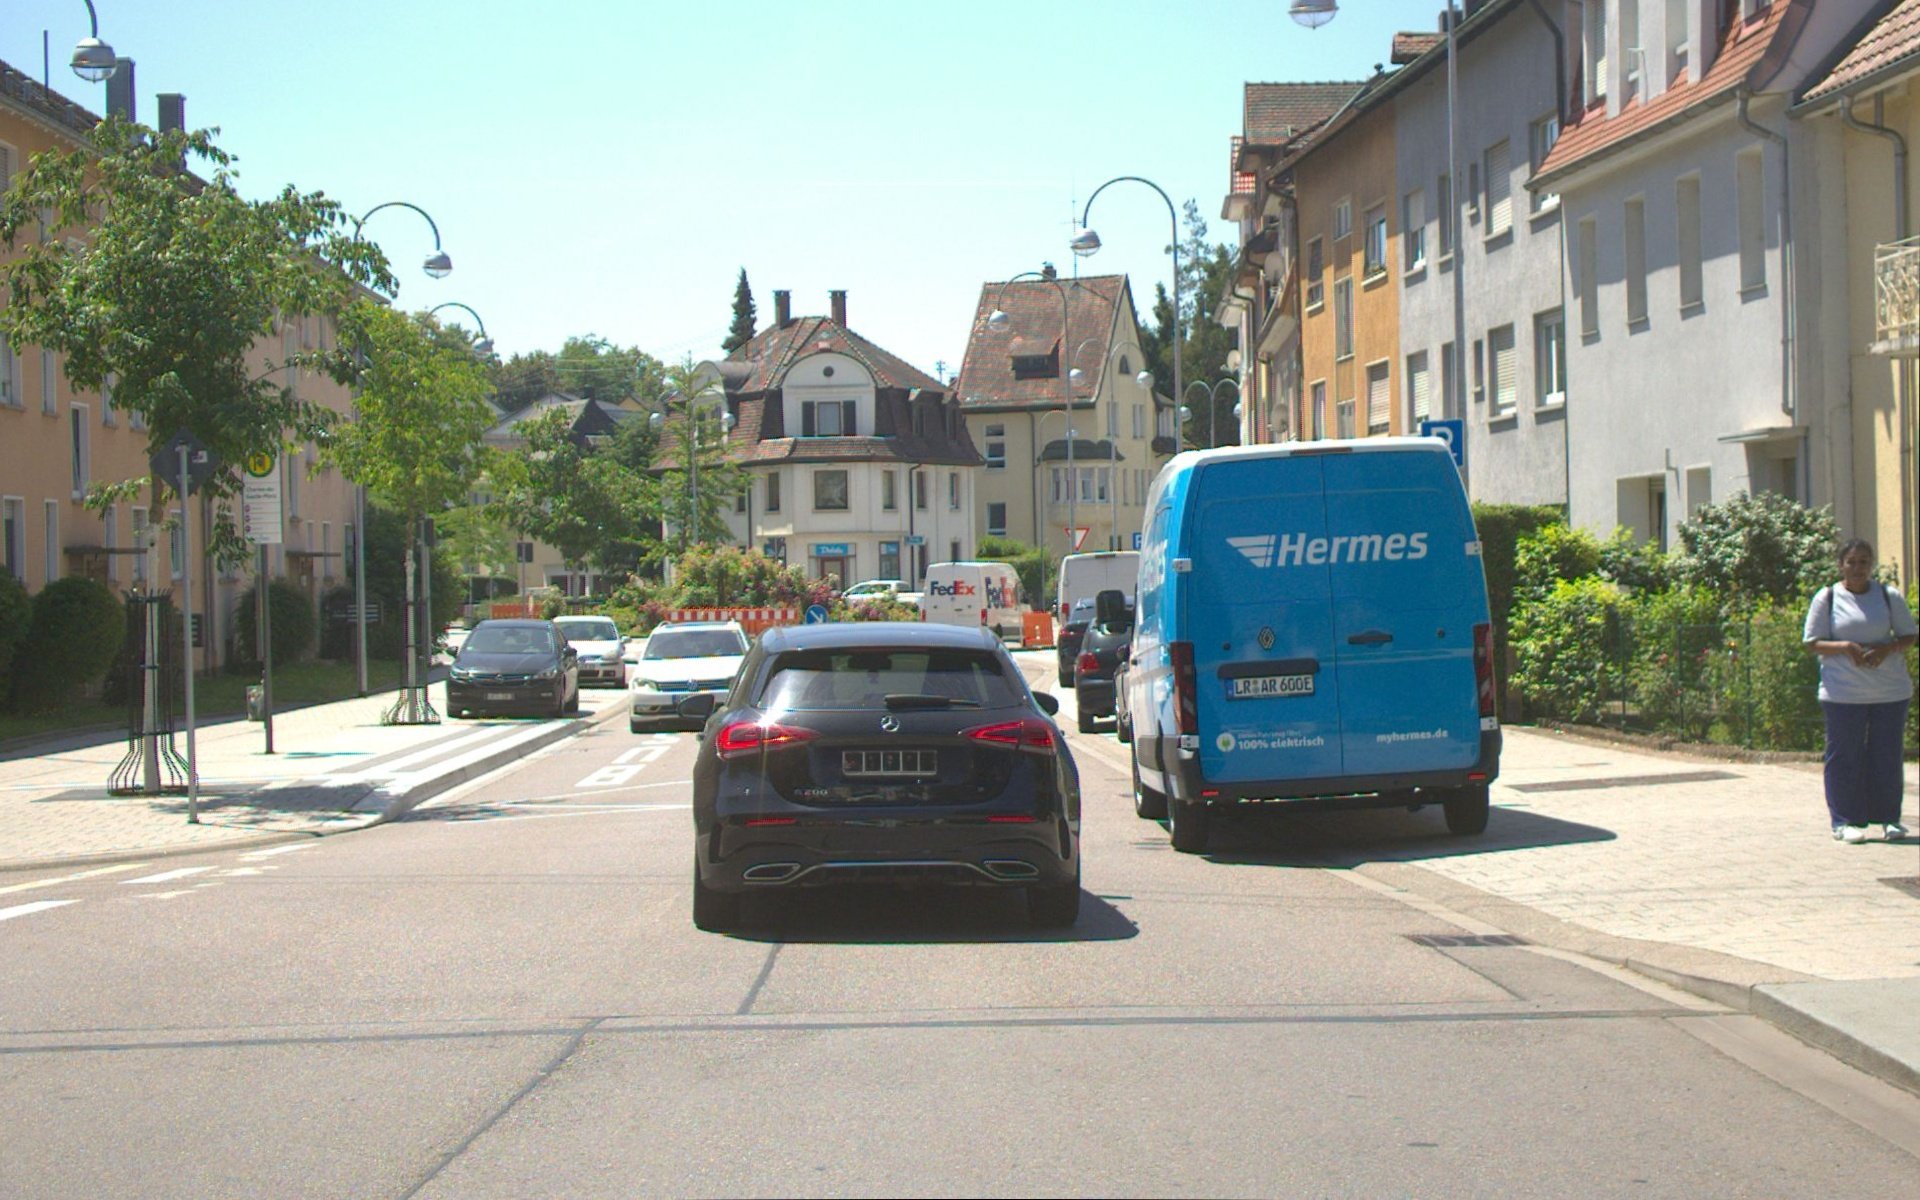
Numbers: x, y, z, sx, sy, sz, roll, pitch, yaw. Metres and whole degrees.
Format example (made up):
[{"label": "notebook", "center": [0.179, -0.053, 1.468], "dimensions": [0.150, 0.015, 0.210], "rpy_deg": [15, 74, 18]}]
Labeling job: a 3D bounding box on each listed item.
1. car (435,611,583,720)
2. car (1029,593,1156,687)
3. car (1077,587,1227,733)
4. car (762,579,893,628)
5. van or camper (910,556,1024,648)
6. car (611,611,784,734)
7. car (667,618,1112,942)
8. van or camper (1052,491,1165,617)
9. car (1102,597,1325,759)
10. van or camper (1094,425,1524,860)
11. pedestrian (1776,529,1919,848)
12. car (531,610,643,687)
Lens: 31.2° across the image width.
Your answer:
[{"label": "car", "center": [-6.969, 0.982, 53.497], "dimensions": [1.857, 1.501, 4.563], "rpy_deg": [-1, 1, -2]}, {"label": "car", "center": [2.511, 0.718, 64.168], "dimensions": [1.896, 1.602, 4.363], "rpy_deg": [-3, 0, 8]}, {"label": "car", "center": [2.426, 0.722, 43.830], "dimensions": [1.728, 1.627, 4.000], "rpy_deg": [-4, 1, 3]}, {"label": "car", "center": [-4.238, 0.097, 110.300], "dimensions": [3.987, 1.481, 1.968], "rpy_deg": [1, 0, 5]}, {"label": "van or camper", "center": [0.239, 0.035, 99.367], "dimensions": [2.207, 2.602, 3.997], "rpy_deg": [0, 1, 17]}, {"label": "car", "center": [-3.562, 0.959, 47.335], "dimensions": [1.993, 1.502, 4.288], "rpy_deg": [-1, 1, 1]}, {"label": "car", "center": [-0.332, 0.815, 17.116], "dimensions": [1.953, 1.422, 4.000], "rpy_deg": [0, -1, -1]}, {"label": "van or camper", "center": [3.211, -0.990, 75.425], "dimensions": [2.165, 2.580, 5.766], "rpy_deg": [-2, 0, 0]}, {"label": "car", "center": [2.636, 0.781, 36.820], "dimensions": [1.803, 1.470, 4.721], "rpy_deg": [-4, 0, -2]}, {"label": "van or camper", "center": [2.176, 0.271, 23.333], "dimensions": [2.108, 2.459, 6.176], "rpy_deg": [-3, 0, -1]}, {"label": "pedestrian", "center": [4.854, 0.467, 18.536], "dimensions": [0.636, 1.649, 0.521], "rpy_deg": [-5, 1, -4]}, {"label": "car", "center": [-7.574, 0.966, 70.148], "dimensions": [1.993, 1.415, 4.089], "rpy_deg": [-1, 1, -2]}]
